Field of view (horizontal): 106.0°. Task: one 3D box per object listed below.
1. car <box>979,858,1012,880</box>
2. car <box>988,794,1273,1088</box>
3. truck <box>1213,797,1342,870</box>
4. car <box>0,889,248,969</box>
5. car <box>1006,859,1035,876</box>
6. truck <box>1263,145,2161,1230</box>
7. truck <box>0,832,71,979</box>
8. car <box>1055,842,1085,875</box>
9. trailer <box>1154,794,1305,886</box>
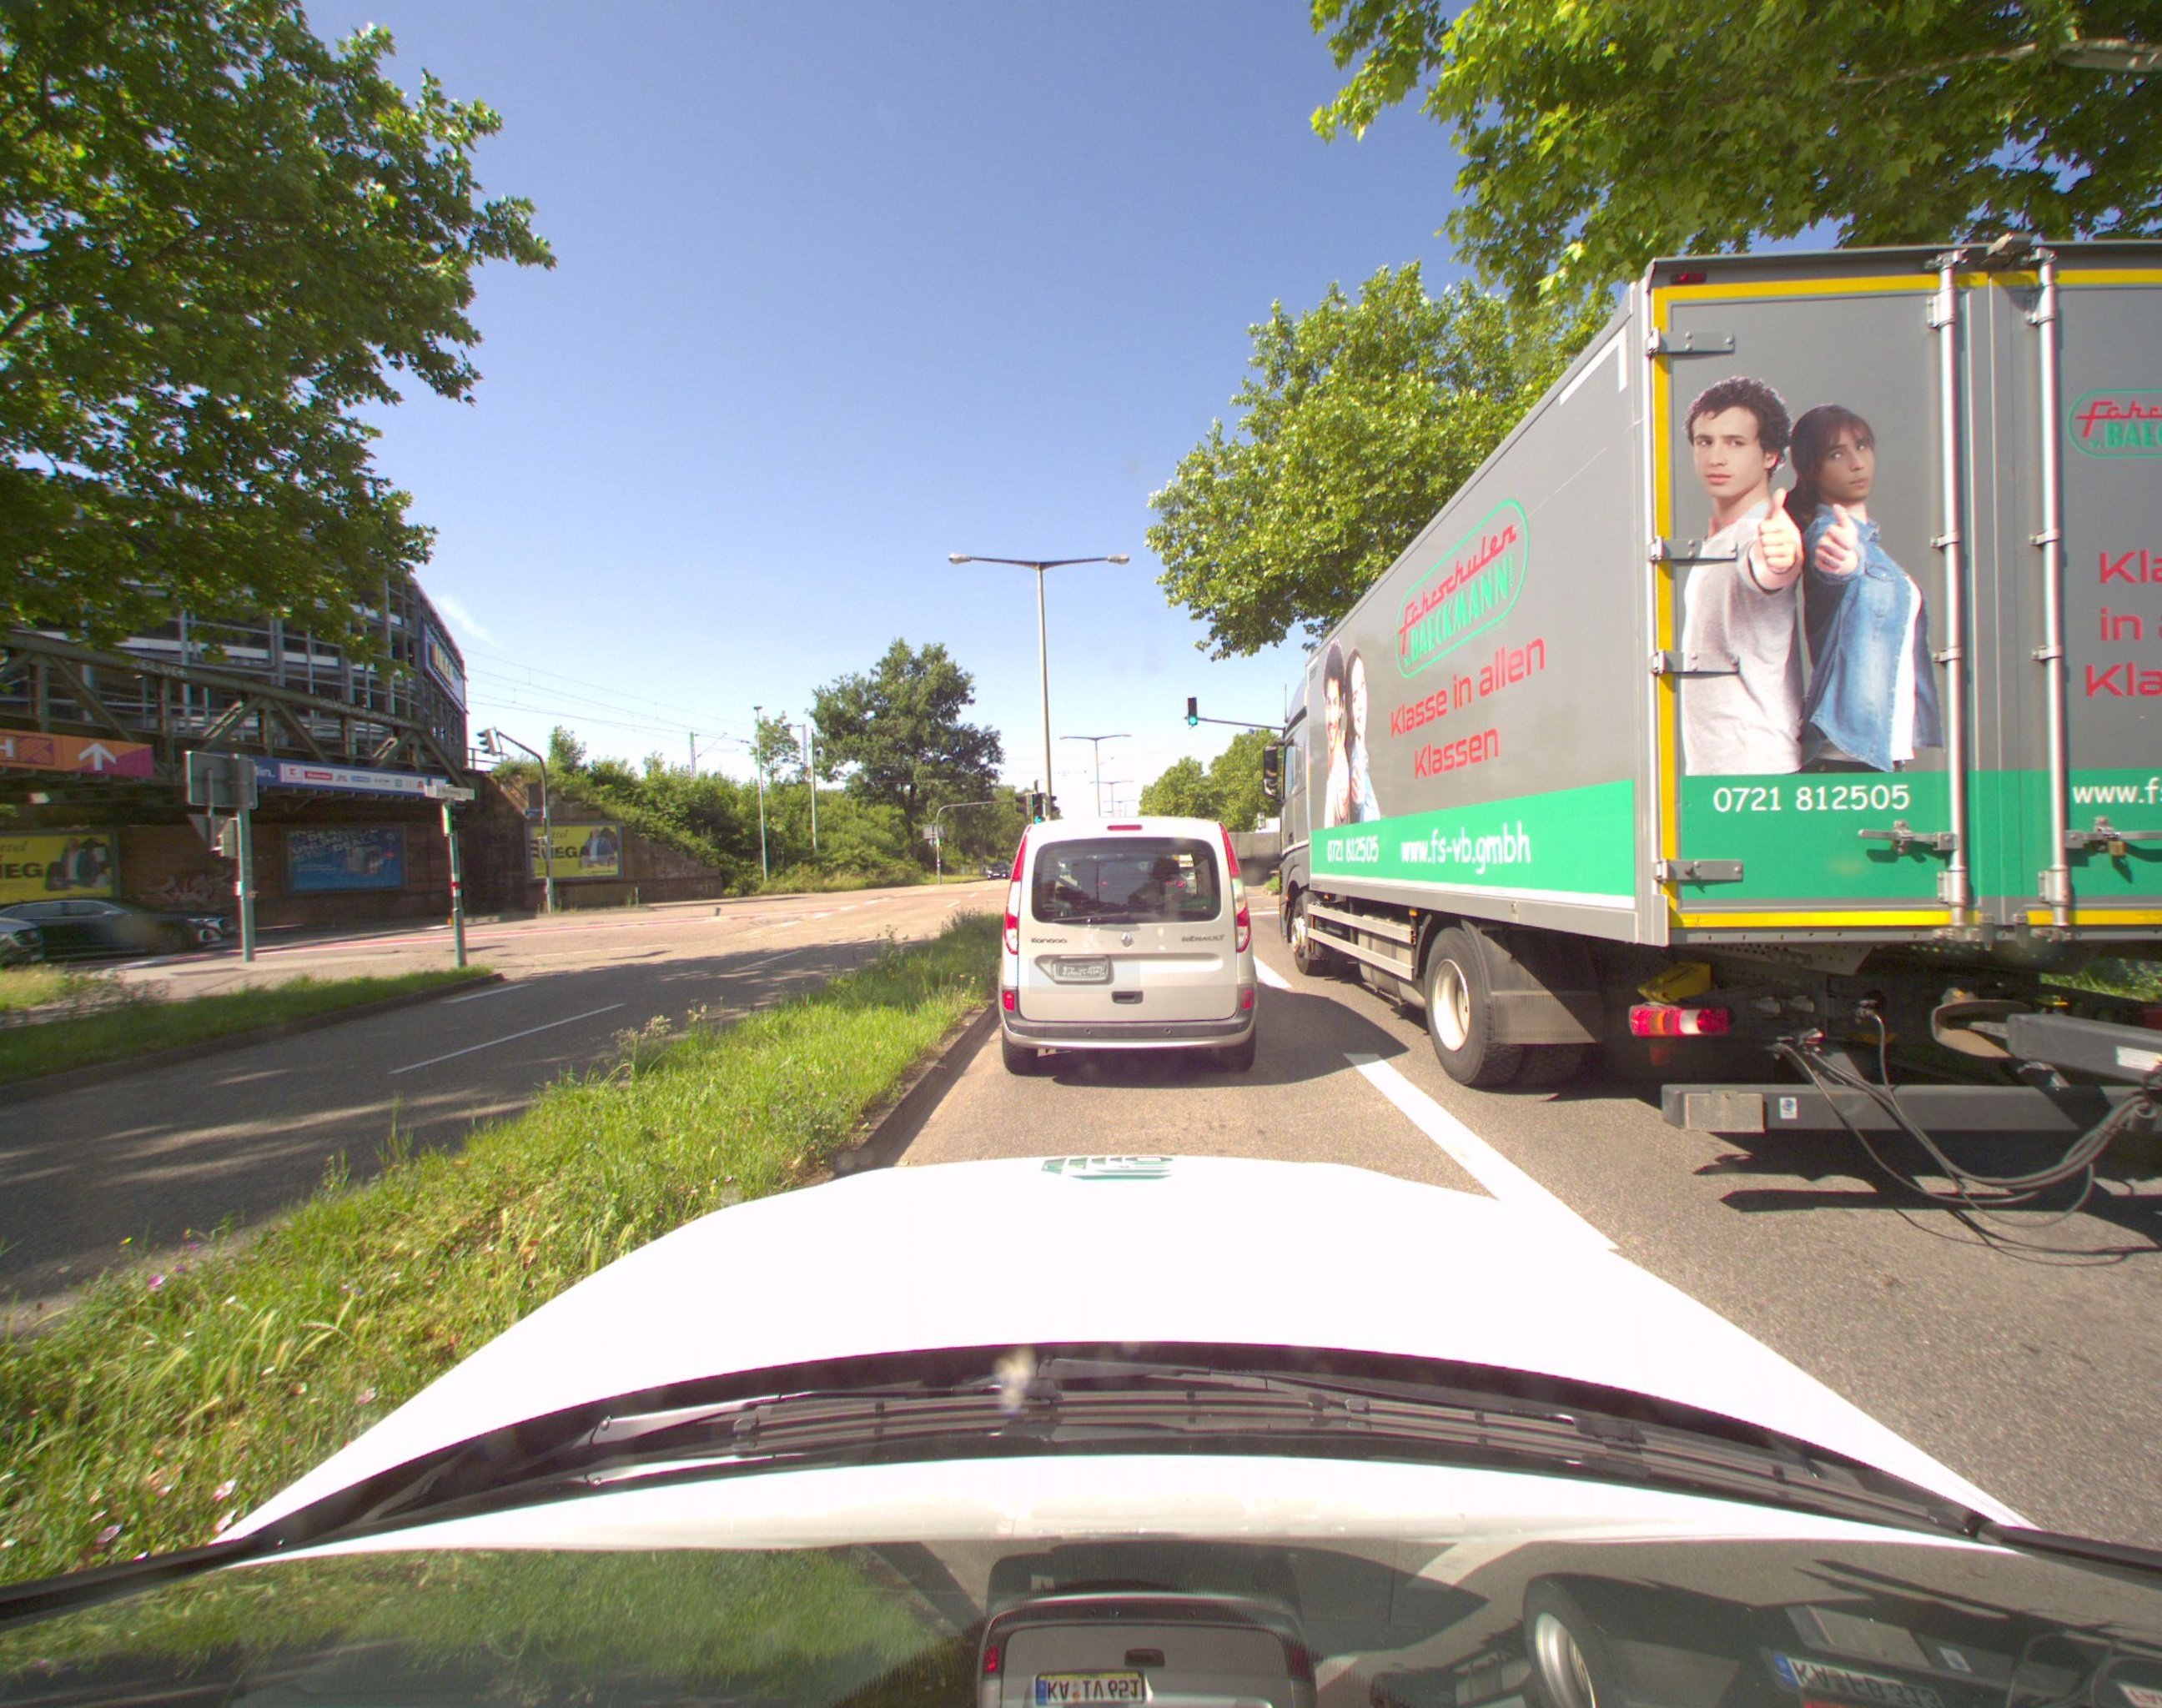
[{"bbox_3d":[-6.855,1.230,65.800,1.902,1.641,3.742,-3,-1,5],"label":"car"},{"bbox_3d":[0.373,0.565,7.128,1.779,1.838,4.001,0,-1,2],"label":"car"},{"bbox_3d":[10.674,-1.015,43.926,7.224,3.643,2.886,0,-1,-38],"label":"truck"},{"bbox_3d":[-25.768,1.943,22.073,4.015,1.646,1.885,-4,1,-32],"label":"car"},{"bbox_3d":[-5.651,1.248,76.643,1.984,1.540,4.241,-3,-1,5],"label":"car"},{"bbox_3d":[3.707,-0.565,7.303,2.717,3.889,8.732,-2,-1,4],"label":"truck"},{"bbox_3d":[-26.328,1.292,16.485,6.890,3.105,2.196,-4,1,-32],"label":"truck"},{"bbox_3d":[-0.870,0.413,69.765,1.984,2.607,5.140,-3,-1,5],"label":"car"},{"bbox_3d":[7.404,-0.509,38.132,2.872,3.622,12.764,-1,-1,30],"label":"trailer"}]
